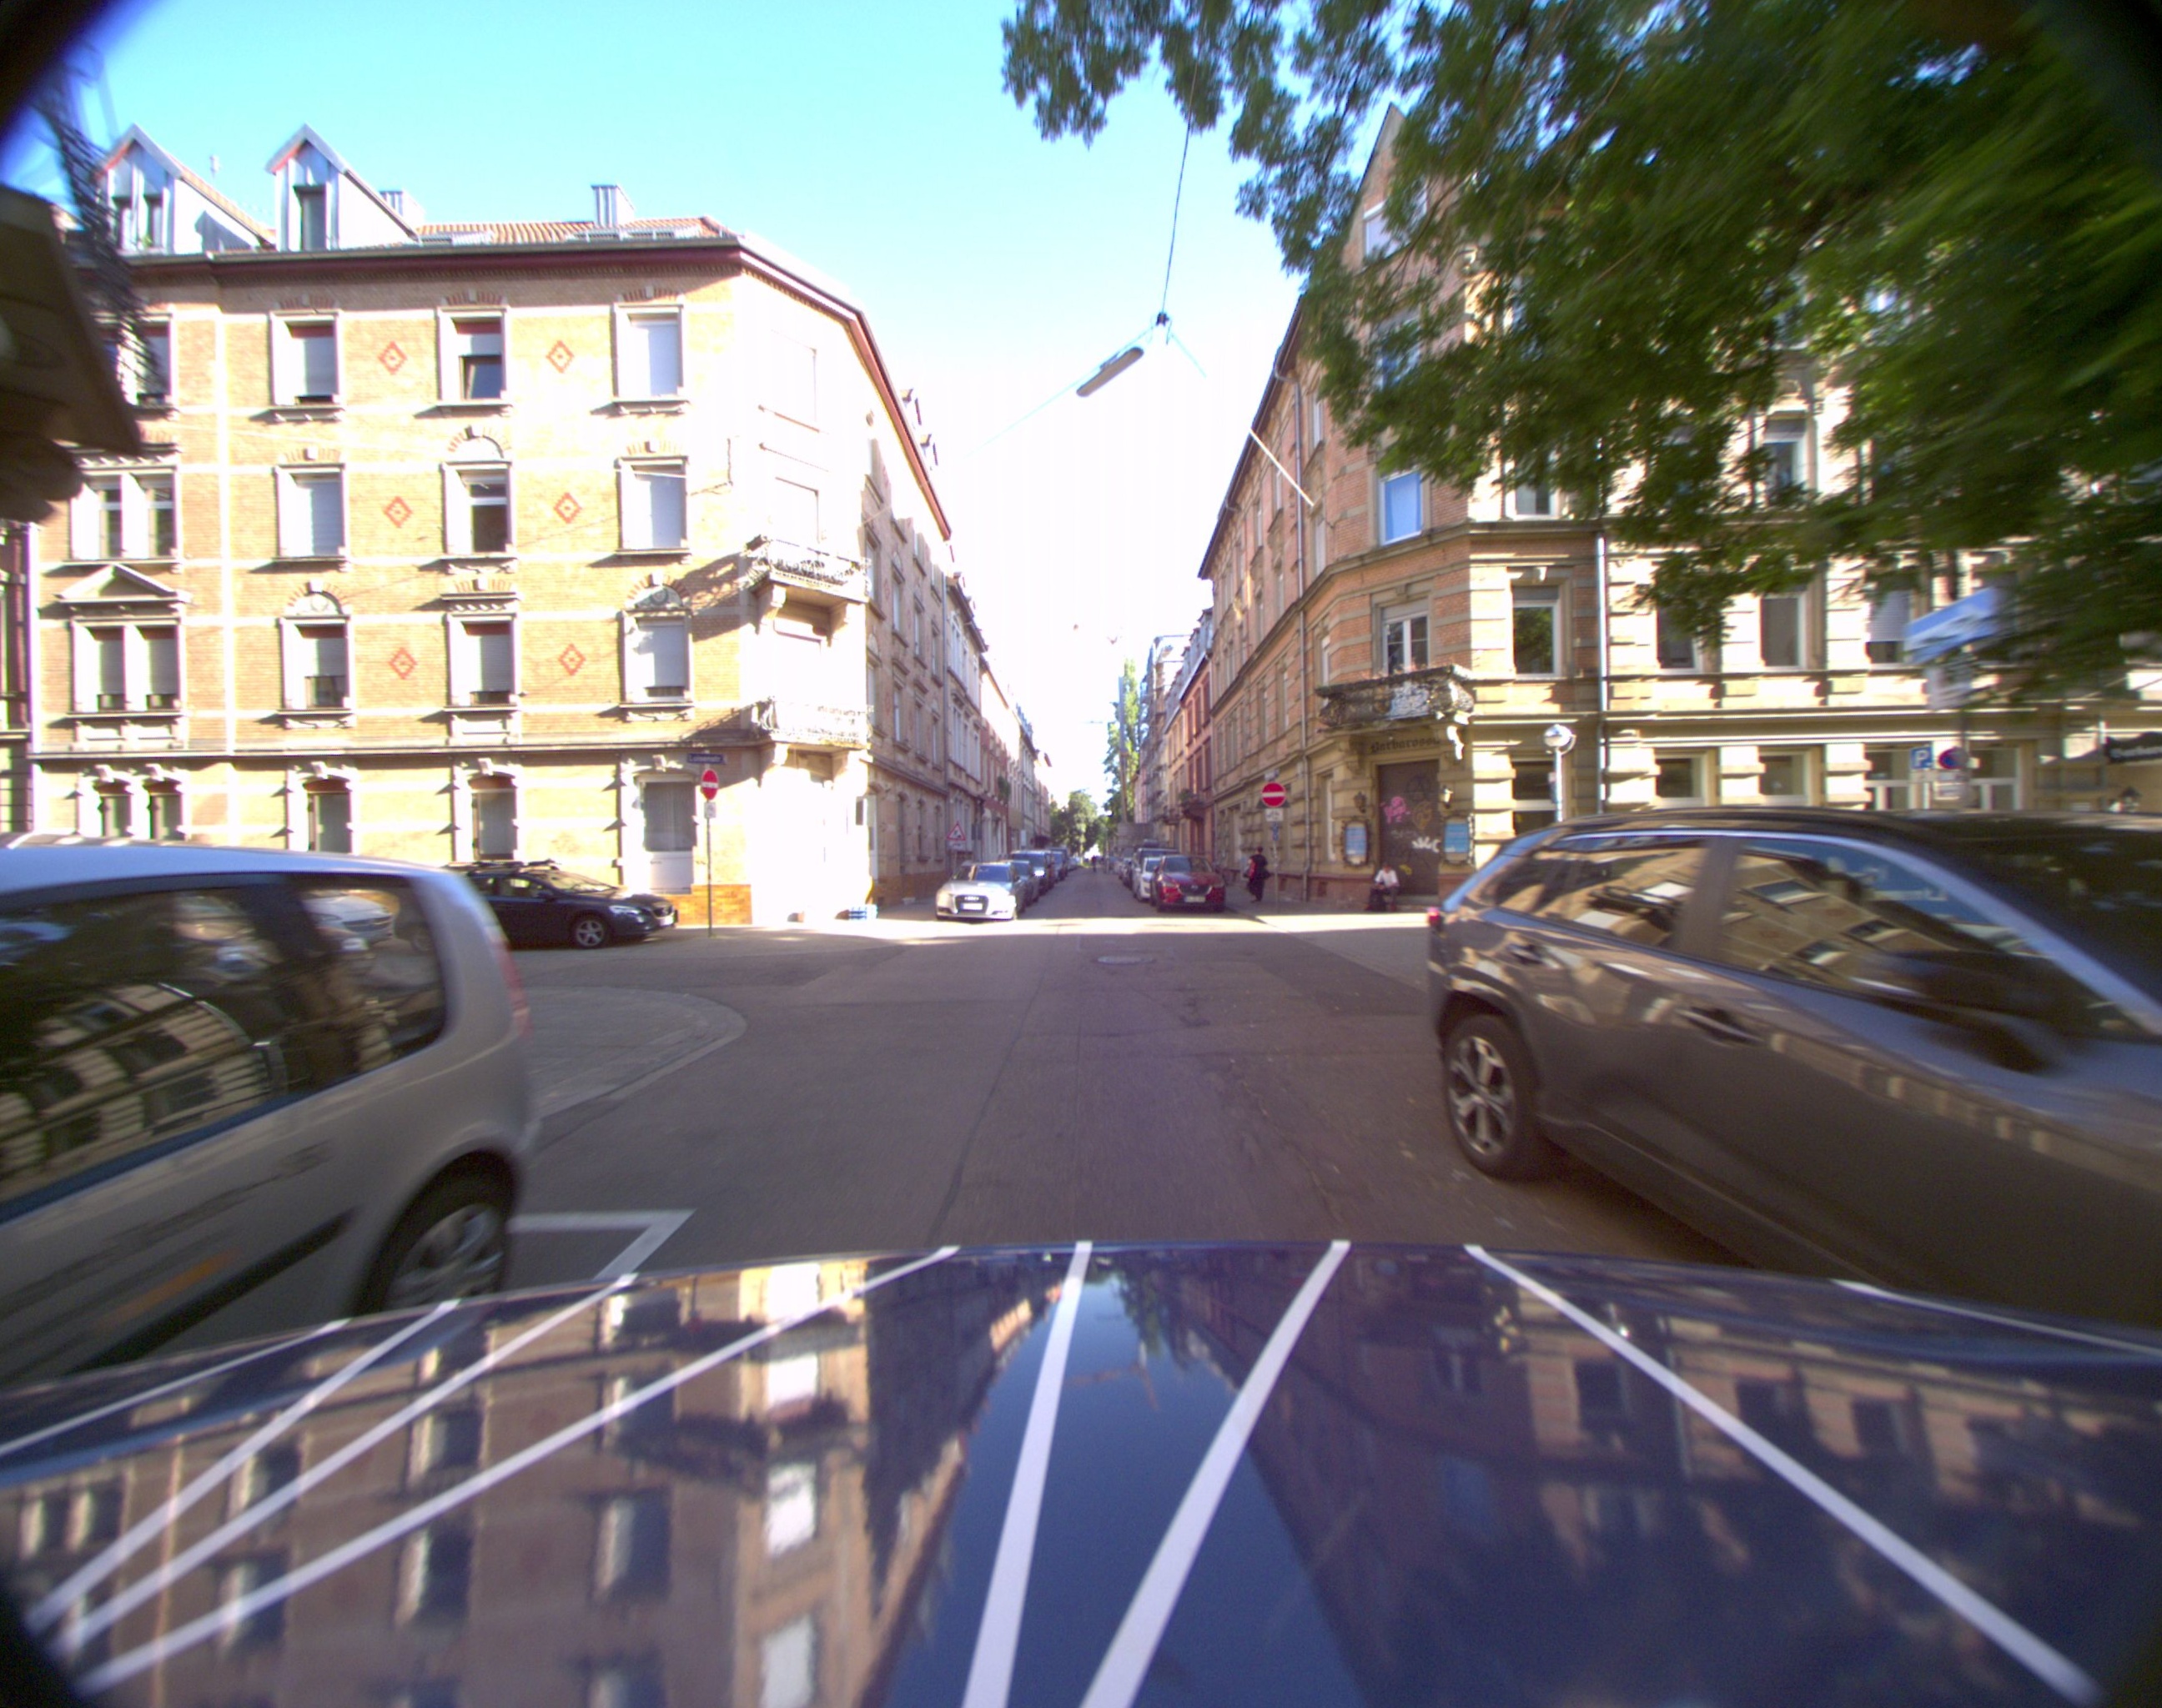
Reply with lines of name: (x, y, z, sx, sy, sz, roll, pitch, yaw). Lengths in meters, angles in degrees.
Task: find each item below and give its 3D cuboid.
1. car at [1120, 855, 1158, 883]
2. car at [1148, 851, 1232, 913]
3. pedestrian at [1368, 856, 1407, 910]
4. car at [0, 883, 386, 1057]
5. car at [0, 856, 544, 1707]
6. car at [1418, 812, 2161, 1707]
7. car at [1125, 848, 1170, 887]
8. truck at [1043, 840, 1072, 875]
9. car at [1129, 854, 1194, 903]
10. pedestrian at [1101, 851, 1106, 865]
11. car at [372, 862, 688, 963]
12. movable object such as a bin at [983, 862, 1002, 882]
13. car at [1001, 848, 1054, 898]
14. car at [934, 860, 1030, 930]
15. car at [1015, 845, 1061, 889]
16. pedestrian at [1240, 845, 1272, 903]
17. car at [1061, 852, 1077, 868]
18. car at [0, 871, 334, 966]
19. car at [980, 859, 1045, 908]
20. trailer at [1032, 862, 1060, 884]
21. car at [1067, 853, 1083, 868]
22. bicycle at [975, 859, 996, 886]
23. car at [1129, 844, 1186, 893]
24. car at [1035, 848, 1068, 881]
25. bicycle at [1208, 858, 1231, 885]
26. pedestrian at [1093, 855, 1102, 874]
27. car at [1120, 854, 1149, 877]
car: (3.105, 0.777, 41.290, 1.703, 1.306, 4.000, -5, 0, 1)
car: (2.911, 0.695, 21.067, 1.727, 1.472, 4.089, -3, 0, 1)
pedestrian: (7.012, 0.662, 17.380, 0.667, 1.170, 0.749, -2, 1, 31)
car: (-9.780, 1.100, 7.644, 3.990, 1.443, 1.733, -2, 0, 2)
car: (-2.695, 0.876, 0.632, 1.708, 1.704, 3.937, -1, 0, -1)
car: (2.734, 0.722, 1.933, 1.745, 1.637, 4.288, -2, 0, -1)
car: (3.091, 0.581, 36.021, 1.792, 1.615, 4.608, -3, 0, 2)
truck: (-1.870, 0.264, 61.369, 2.154, 2.642, 6.252, 2, 0, -2)
car: (2.617, 0.748, 25.488, 1.678, 1.412, 3.874, -3, 0, 0)
pedestrian: (2.806, 0.505, 95.076, 0.594, 1.634, 0.813, 0, 1, 1)
car: (-9.787, 0.998, 13.814, 4.253, 1.463, 1.767, -1, 4, -5)
movable object such as a bin: (-4.724, 0.976, 40.667, 0.898, 1.055, 0.722, 1, 0, -1)
car: (-2.249, 0.760, 32.856, 1.774, 1.949, 4.264, -3, 0, 1)
car: (-2.403, 0.946, 19.564, 1.710, 1.450, 4.511, -3, 0, 1)
car: (-2.122, 0.614, 38.352, 1.836, 2.002, 4.742, -3, 0, 1)
pedestrian: (4.923, 0.543, 21.392, 0.668, 1.571, 0.759, -3, 1, 0)
car: (-1.391, 0.667, 89.182, 1.603, 1.652, 4.060, -4, 0, 1)
car: (-16.288, 1.118, 13.688, 3.997, 1.431, 1.589, -1, 3, 0)
car: (-2.221, 0.927, 25.514, 1.670, 1.470, 3.888, -2, 0, 1)
trailer: (-2.107, 1.122, 46.190, 1.508, 1.106, 3.039, -5, 0, -1)
car: (-0.579, 0.708, 81.499, 1.525, 1.525, 3.463, 4, 0, 1)
bicycle: (-4.665, 0.893, 37.126, 0.728, 1.296, 1.692, 1, 0, 1)
car: (3.054, 0.539, 31.098, 1.897, 1.774, 4.608, -3, 0, 2)
car: (-1.921, 0.683, 50.918, 1.849, 1.972, 4.576, -4, 0, 1)
bicycle: (5.999, 0.747, 33.019, 0.668, 1.118, 1.785, -4, 0, 2)
pedestrian: (1.580, 1.019, 72.955, 0.740, 1.743, 0.997, -2, 0, 2)
car: (3.455, 0.748, 49.683, 1.678, 1.410, 4.000, 0, 0, 0)
